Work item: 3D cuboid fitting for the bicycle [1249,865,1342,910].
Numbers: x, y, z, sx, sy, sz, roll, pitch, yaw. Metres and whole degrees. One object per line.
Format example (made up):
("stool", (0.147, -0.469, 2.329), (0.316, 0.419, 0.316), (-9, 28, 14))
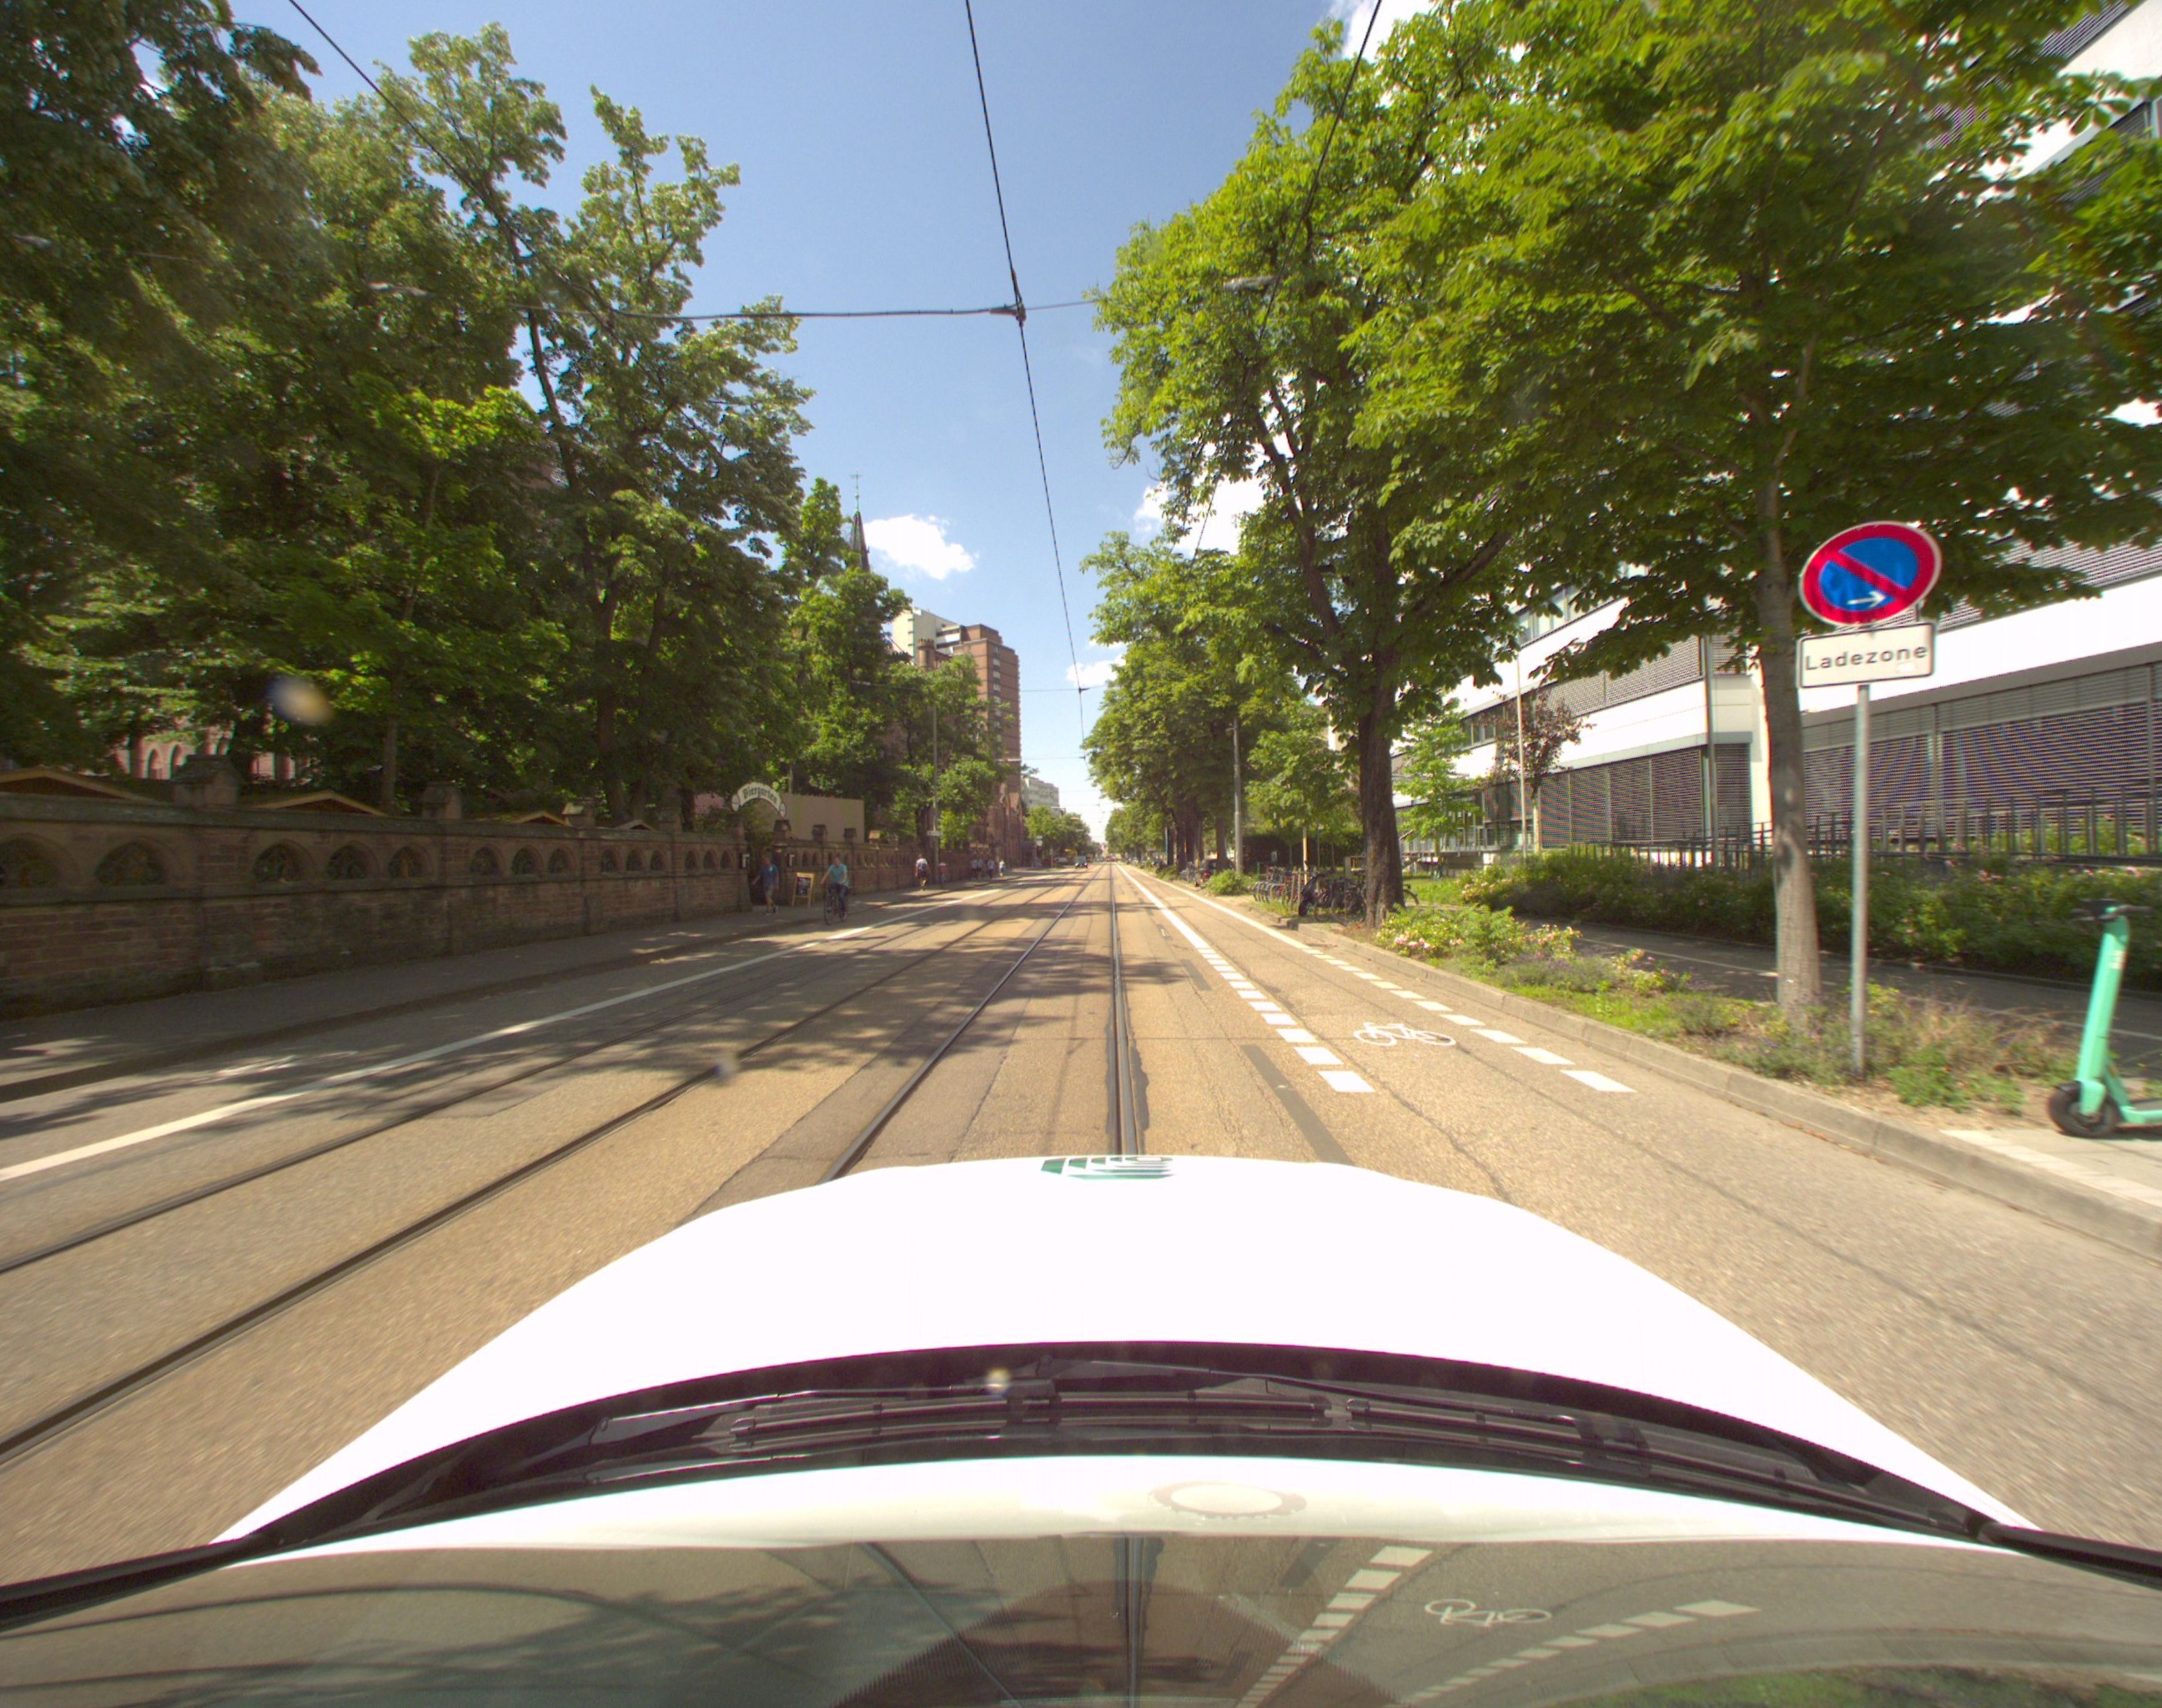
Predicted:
("bicycle", (6.155, 0.957, 23.487), (2.498, 1.209, 0.623), (-2, -1, 6))

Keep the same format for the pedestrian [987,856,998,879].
("pedestrian", (-6.743, 0.989, 61.984), (0.740, 1.728, 0.868), (-1, -1, 1))

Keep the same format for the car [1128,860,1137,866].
("car", (11.749, 2.071, 185.189), (1.986, 1.310, 4.002), (-2, 0, 2))

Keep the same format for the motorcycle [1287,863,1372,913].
("motorcycle", (5.914, 0.807, 19.429), (1.817, 1.110, 0.598), (-2, -1, 2))

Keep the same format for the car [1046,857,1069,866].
("car", (-5.232, 1.678, 180.105), (4.753, 1.717, 1.983), (-1, 0, -26))

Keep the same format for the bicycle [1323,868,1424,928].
("bicycle", (5.785, 0.862, 16.155), (1.782, 1.102, 0.531), (-1, -1, -1))

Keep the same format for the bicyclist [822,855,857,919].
("bicyclist", (-6.500, 0.886, 21.969), (0.639, 1.679, 0.815), (-2, -1, 2))

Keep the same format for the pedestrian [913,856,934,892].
("pedestrian", (-7.882, 0.982, 40.865), (0.811, 1.770, 0.925), (-1, -1, 1))

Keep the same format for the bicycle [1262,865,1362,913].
("bicycle", (6.249, 0.951, 22.111), (2.498, 1.209, 0.649), (-2, -1, 6))

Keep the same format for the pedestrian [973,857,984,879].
("pedestrian", (-7.980, 1.084, 63.400), (0.740, 1.728, 0.868), (-1, -1, 1))

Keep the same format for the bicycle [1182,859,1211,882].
("bicycle", (6.576, 0.941, 46.515), (1.557, 1.241, 0.437), (-2, -1, 3))

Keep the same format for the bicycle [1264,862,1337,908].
("bicycle", (5.751, 0.799, 21.391), (1.747, 1.166, 0.530), (-1, -1, -1))

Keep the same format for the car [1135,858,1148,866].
("car", (10.451, 1.418, 141.490), (1.986, 1.310, 4.002), (-2, 0, 2))

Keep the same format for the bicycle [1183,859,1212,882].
("bicycle", (6.588, 0.946, 46.010), (1.557, 1.241, 0.437), (-2, -1, 3))

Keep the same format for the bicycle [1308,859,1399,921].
("bicycle", (5.778, 0.751, 17.310), (1.747, 1.271, 0.530), (-1, -1, -1))

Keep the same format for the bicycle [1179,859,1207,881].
("bicycle", (6.481, 0.942, 47.101), (1.557, 1.241, 0.437), (-2, -1, 3))

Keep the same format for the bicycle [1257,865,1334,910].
("bicycle", (5.979, 0.935, 22.817), (1.987, 1.209, 0.663), (-2, -1, 6))

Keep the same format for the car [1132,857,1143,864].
("car", (10.648, 1.233, 154.404), (1.986, 1.310, 4.002), (-2, 0, 2))

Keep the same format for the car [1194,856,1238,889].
("car", (6.599, 0.894, 40.106), (1.628, 1.501, 4.002), (-1, 0, 2))

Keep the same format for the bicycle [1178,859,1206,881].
("bicycle", (6.497, 0.943, 47.630), (1.557, 1.241, 0.437), (-2, -1, 3))

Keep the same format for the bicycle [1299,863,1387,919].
("bicycle", (5.715, 0.797, 17.827), (1.747, 1.166, 0.530), (-1, -1, -1))

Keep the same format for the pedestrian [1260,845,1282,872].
("pedestrian", (13.016, 0.309, 55.814), (1.212, 1.827, 0.831), (-1, -1, -2))

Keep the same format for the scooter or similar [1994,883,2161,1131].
("scooter or similar", (5.413, 0.745, 4.137), (1.054, 1.156, 0.371), (-3, -1, 2))

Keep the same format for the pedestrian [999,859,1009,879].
("pedestrian", (-6.568, 1.303, 69.822), (0.740, 1.728, 0.867), (-1, -1, 1))

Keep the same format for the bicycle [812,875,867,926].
("bicycle", (-6.465, 1.212, 21.917), (0.698, 1.204, 2.241), (-3, 0, 2))

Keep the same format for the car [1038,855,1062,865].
("car", (-5.592, 1.113, 146.703), (4.012, 1.804, 1.981), (1, 0, -31))

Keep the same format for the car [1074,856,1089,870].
("car", (0.096, 1.306, 121.841), (1.984, 2.014, 4.005), (-1, 0, 4))

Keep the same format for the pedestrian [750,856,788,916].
("pedestrian", (-9.243, 0.941, 24.133), (0.740, 1.728, 0.868), (-1, -1, 1))

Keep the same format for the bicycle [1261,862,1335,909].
("bicycle", (5.553, 0.797, 20.893), (1.747, 1.166, 0.530), (-1, -1, -1))

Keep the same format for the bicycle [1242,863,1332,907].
("bicycle", (6.104, 0.914, 24.250), (2.498, 1.209, 0.743), (-2, -1, 6))

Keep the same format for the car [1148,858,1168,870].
("car", (8.429, 1.101, 89.465), (1.986, 1.310, 4.002), (-2, 0, 2))

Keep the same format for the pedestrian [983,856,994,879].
("pedestrian", (-7.218, 1.044, 63.399), (0.740, 1.728, 0.868), (-1, -1, 1))

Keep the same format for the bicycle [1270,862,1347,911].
("bicycle", (5.628, 0.798, 20.175), (1.747, 1.166, 0.530), (-1, -1, -1))

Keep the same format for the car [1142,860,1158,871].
("car", (9.389, 1.545, 110.952), (1.986, 1.310, 4.002), (-2, 0, 2))

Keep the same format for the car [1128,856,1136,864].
("car", (12.199, 1.402, 194.941), (1.986, 1.904, 4.002), (-1, 0, 2))
